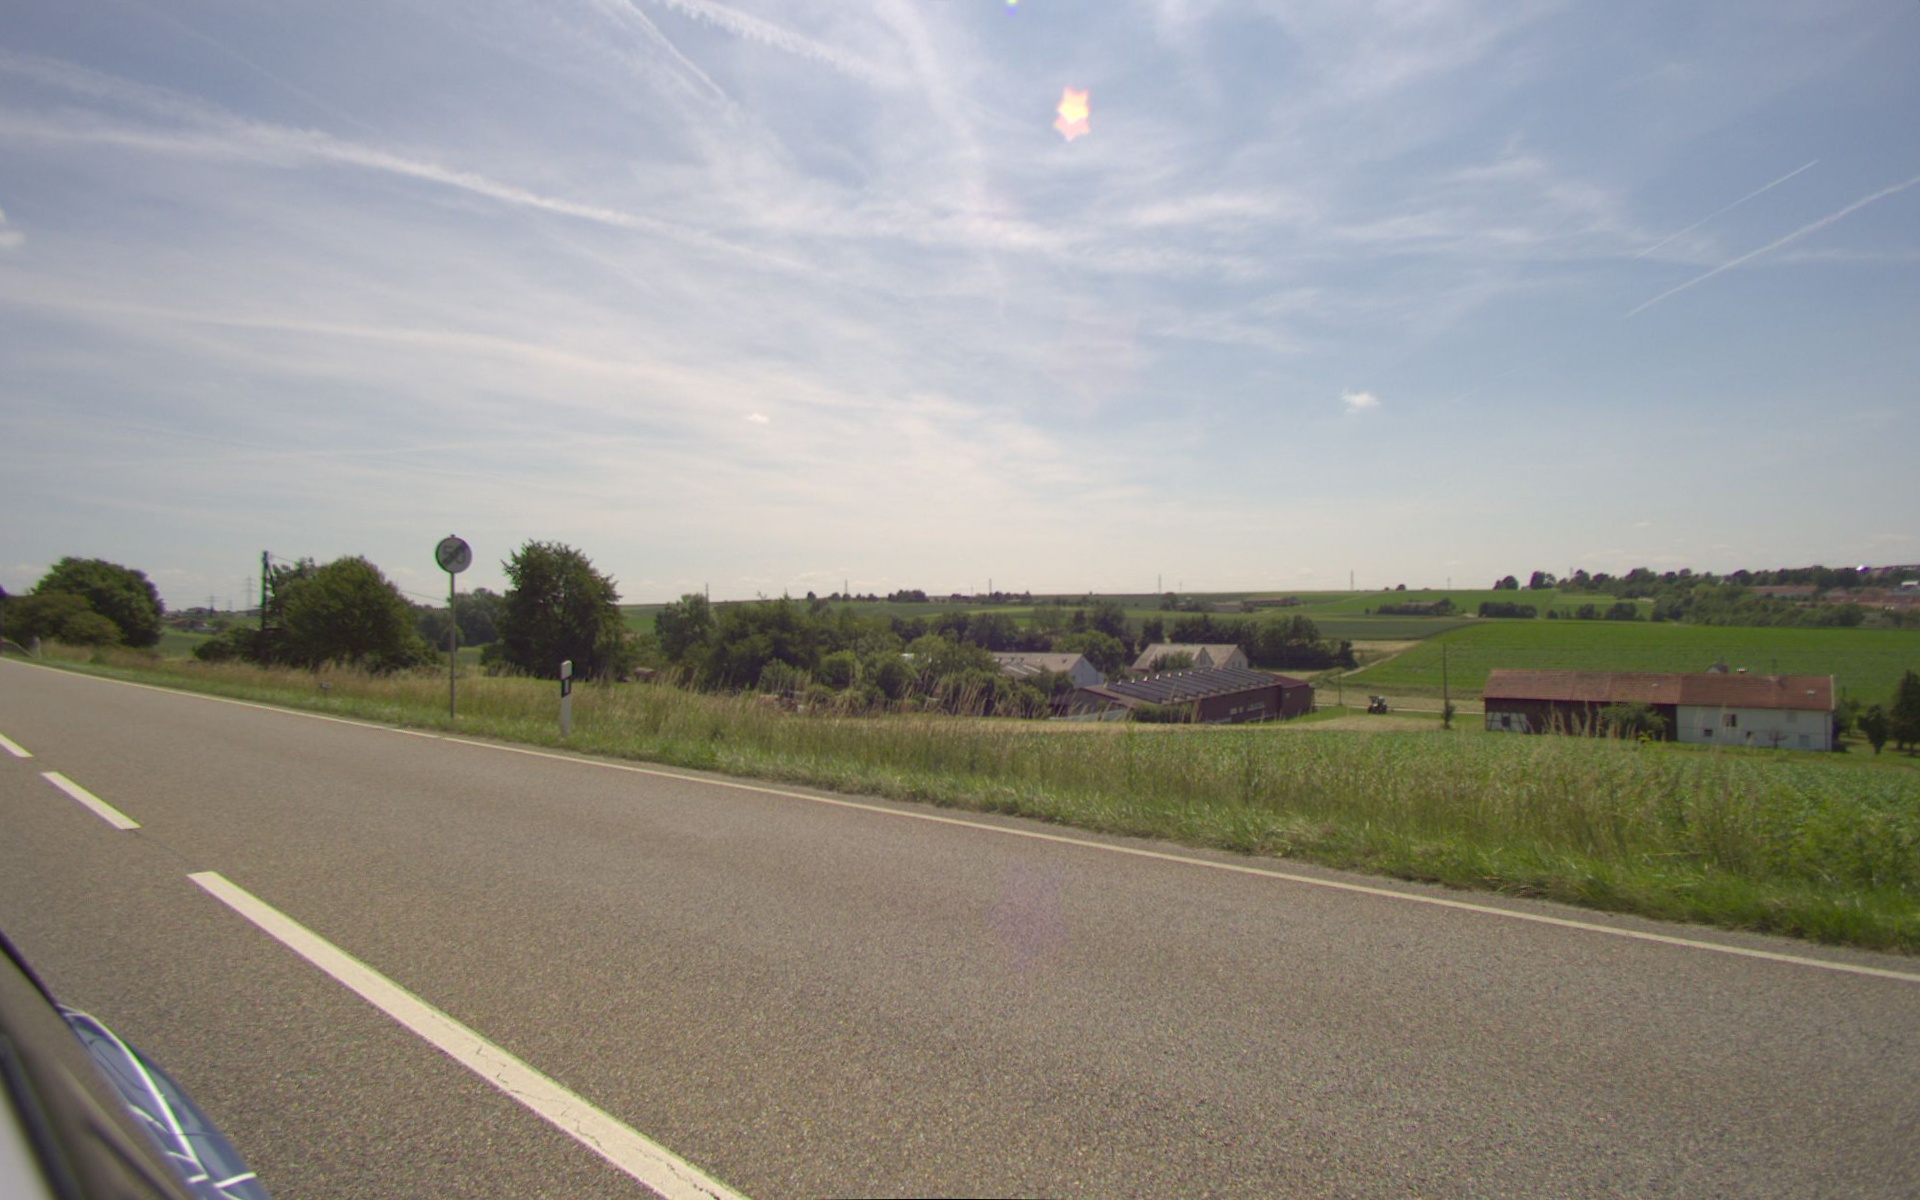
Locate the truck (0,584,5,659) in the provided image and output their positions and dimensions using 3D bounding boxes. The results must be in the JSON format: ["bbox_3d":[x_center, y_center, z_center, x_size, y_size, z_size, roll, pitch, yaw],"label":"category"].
[{"bbox_3d":[-47.752,1.177,48.016,11.065,3.604,2.726,-2,-4,43],"label":"truck"}]
